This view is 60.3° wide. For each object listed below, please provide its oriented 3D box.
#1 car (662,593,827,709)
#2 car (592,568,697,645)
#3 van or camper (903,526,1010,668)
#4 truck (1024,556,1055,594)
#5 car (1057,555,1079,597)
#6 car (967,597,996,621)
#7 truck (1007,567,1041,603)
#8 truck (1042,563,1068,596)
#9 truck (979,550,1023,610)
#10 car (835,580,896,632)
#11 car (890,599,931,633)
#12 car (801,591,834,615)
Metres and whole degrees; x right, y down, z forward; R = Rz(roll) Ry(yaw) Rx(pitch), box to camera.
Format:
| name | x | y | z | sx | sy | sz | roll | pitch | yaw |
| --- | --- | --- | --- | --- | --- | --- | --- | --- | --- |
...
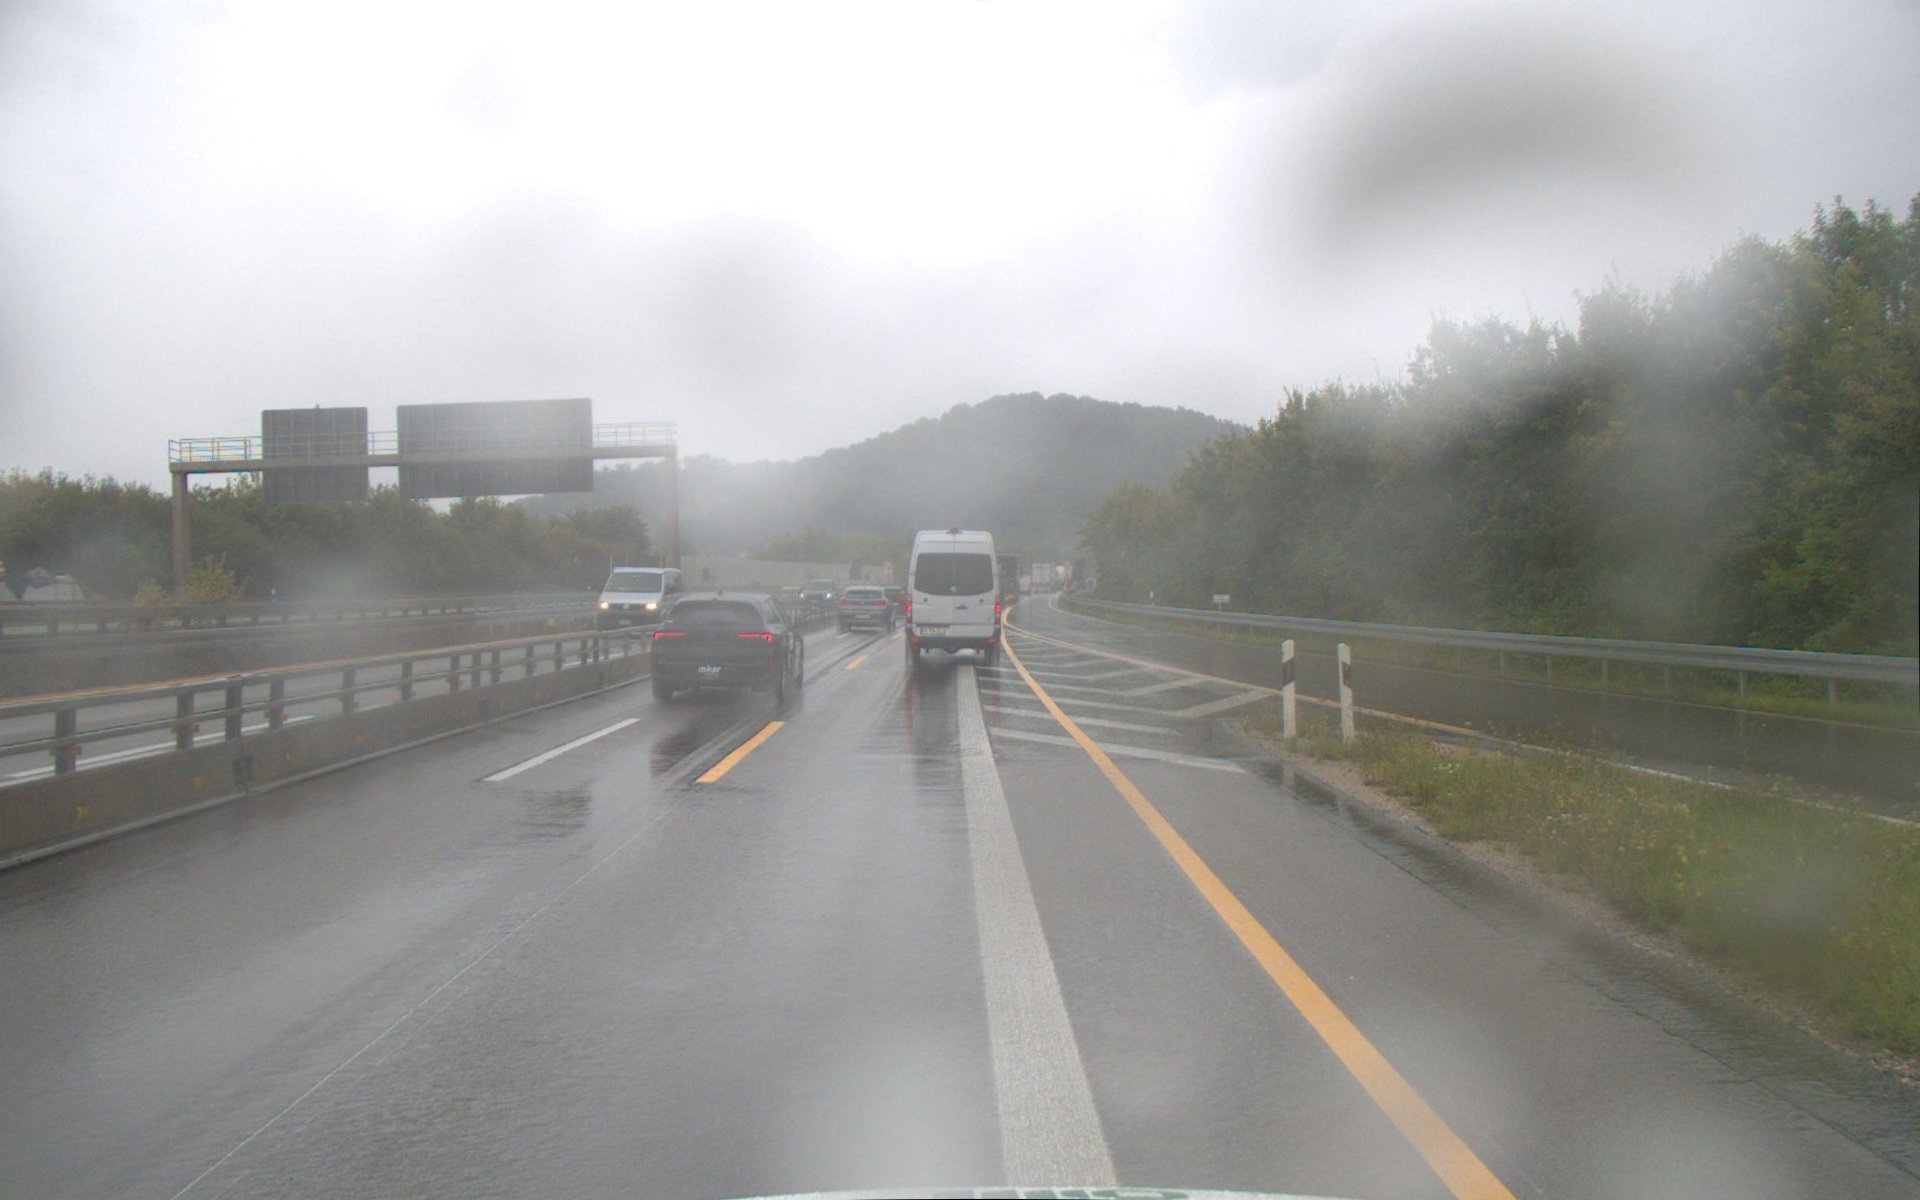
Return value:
| name | x | y | z | sx | sy | sz | roll | pitch | yaw |
| --- | --- | --- | --- | --- | --- | --- | --- | --- | --- |
| car | -2.914 | 0.643 | 23.272 | 1.900 | 1.452 | 4.757 | 1 | 0 | -3 |
| car | -9.120 | 0.193 | 48.242 | 1.869 | 2.049 | 5.828 | 1 | 0 | 0 |
| van or camper | -0.065 | -0.070 | 34.607 | 2.095 | 2.769 | 4.648 | 0 | 0 | 0 |
| truck | 10.805 | -3.320 | 223.357 | 3.846 | 4.868 | 9.911 | 1 | 0 | 4 |
| car | 11.044 | -2.428 | 169.812 | 2.015 | 4.265 | 6.747 | 0 | 0 | 2 |
| car | 1.168 | 0.468 | 91.093 | 1.357 | 1.278 | 3.119 | 0 | 0 | -5 |
| truck | 7.022 | -1.616 | 183.784 | 3.253 | 3.827 | 9.905 | 1 | 0 | -1 |
| truck | 15.121 | -3.205 | 261.864 | 3.846 | 4.868 | 9.911 | 1 | 0 | 4 |
| truck | 3.431 | -1.611 | 140.072 | 3.253 | 4.868 | 9.905 | 1 | 0 | -1 |
| car | -3.123 | 0.196 | 55.516 | 1.829 | 1.688 | 3.988 | 0 | 0 | 0 |
| car | -2.233 | 0.704 | 75.784 | 1.814 | 1.527 | 3.999 | 0 | 0 | -1 |
| car | -8.292 | 0.167 | 96.360 | 1.598 | 1.374 | 3.654 | 0 | 0 | -1 |
